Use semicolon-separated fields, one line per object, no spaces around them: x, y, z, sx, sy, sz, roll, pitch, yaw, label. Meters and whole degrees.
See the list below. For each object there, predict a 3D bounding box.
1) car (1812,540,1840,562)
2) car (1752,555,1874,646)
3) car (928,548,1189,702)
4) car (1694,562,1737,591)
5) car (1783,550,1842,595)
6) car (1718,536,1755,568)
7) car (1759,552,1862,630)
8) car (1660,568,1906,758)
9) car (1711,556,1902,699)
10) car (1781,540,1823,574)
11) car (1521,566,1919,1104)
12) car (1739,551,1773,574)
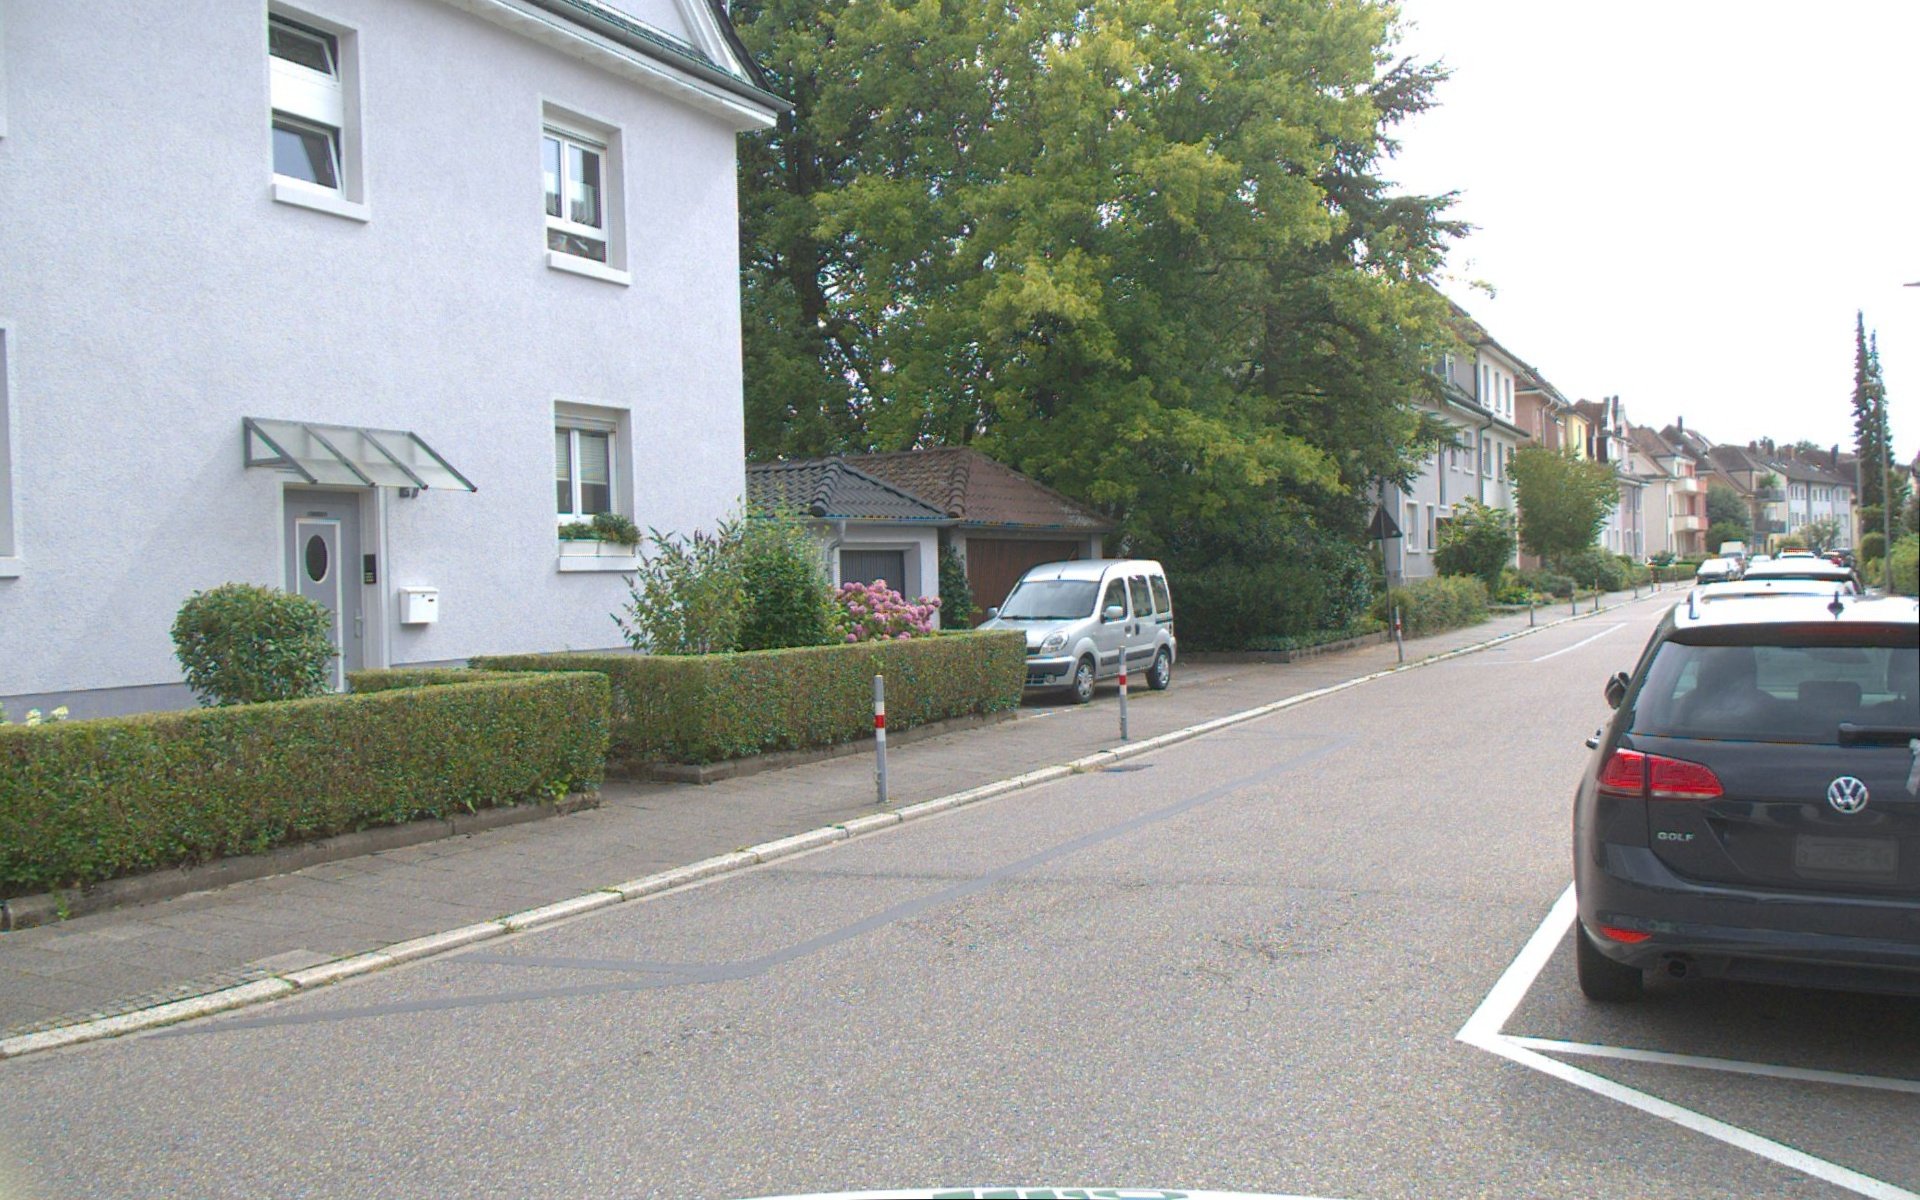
66.159;-3.750;126.342;1.818;1.605;4.169;-2;1;29;car
15.694;-0.024;30.369;1.818;1.497;4.169;-2;1;29;car
1.435;0.273;22.351;1.956;1.870;3.994;-2;1;29;car
47.047;-1.495;102.954;1.957;1.668;3.992;-2;1;31;car
31.367;-1.027;60.812;1.818;1.497;4.169;-2;1;29;car
53.287;-3.289;113.519;1.956;2.048;3.993;-2;1;29;car
18.231;-0.223;35.379;1.818;1.497;4.169;-2;1;29;car
7.896;0.504;15.773;1.818;1.497;4.169;-2;1;29;car
10.214;0.274;19.900;1.818;1.497;4.169;-2;1;29;car
42.151;-2.152;82.800;1.818;1.605;4.171;-2;1;27;car
3.461;0.653;6.729;1.816;1.497;4.174;-2;1;24;car
61.641;-2.873;128.023;1.957;1.668;3.992;-2;1;31;car
